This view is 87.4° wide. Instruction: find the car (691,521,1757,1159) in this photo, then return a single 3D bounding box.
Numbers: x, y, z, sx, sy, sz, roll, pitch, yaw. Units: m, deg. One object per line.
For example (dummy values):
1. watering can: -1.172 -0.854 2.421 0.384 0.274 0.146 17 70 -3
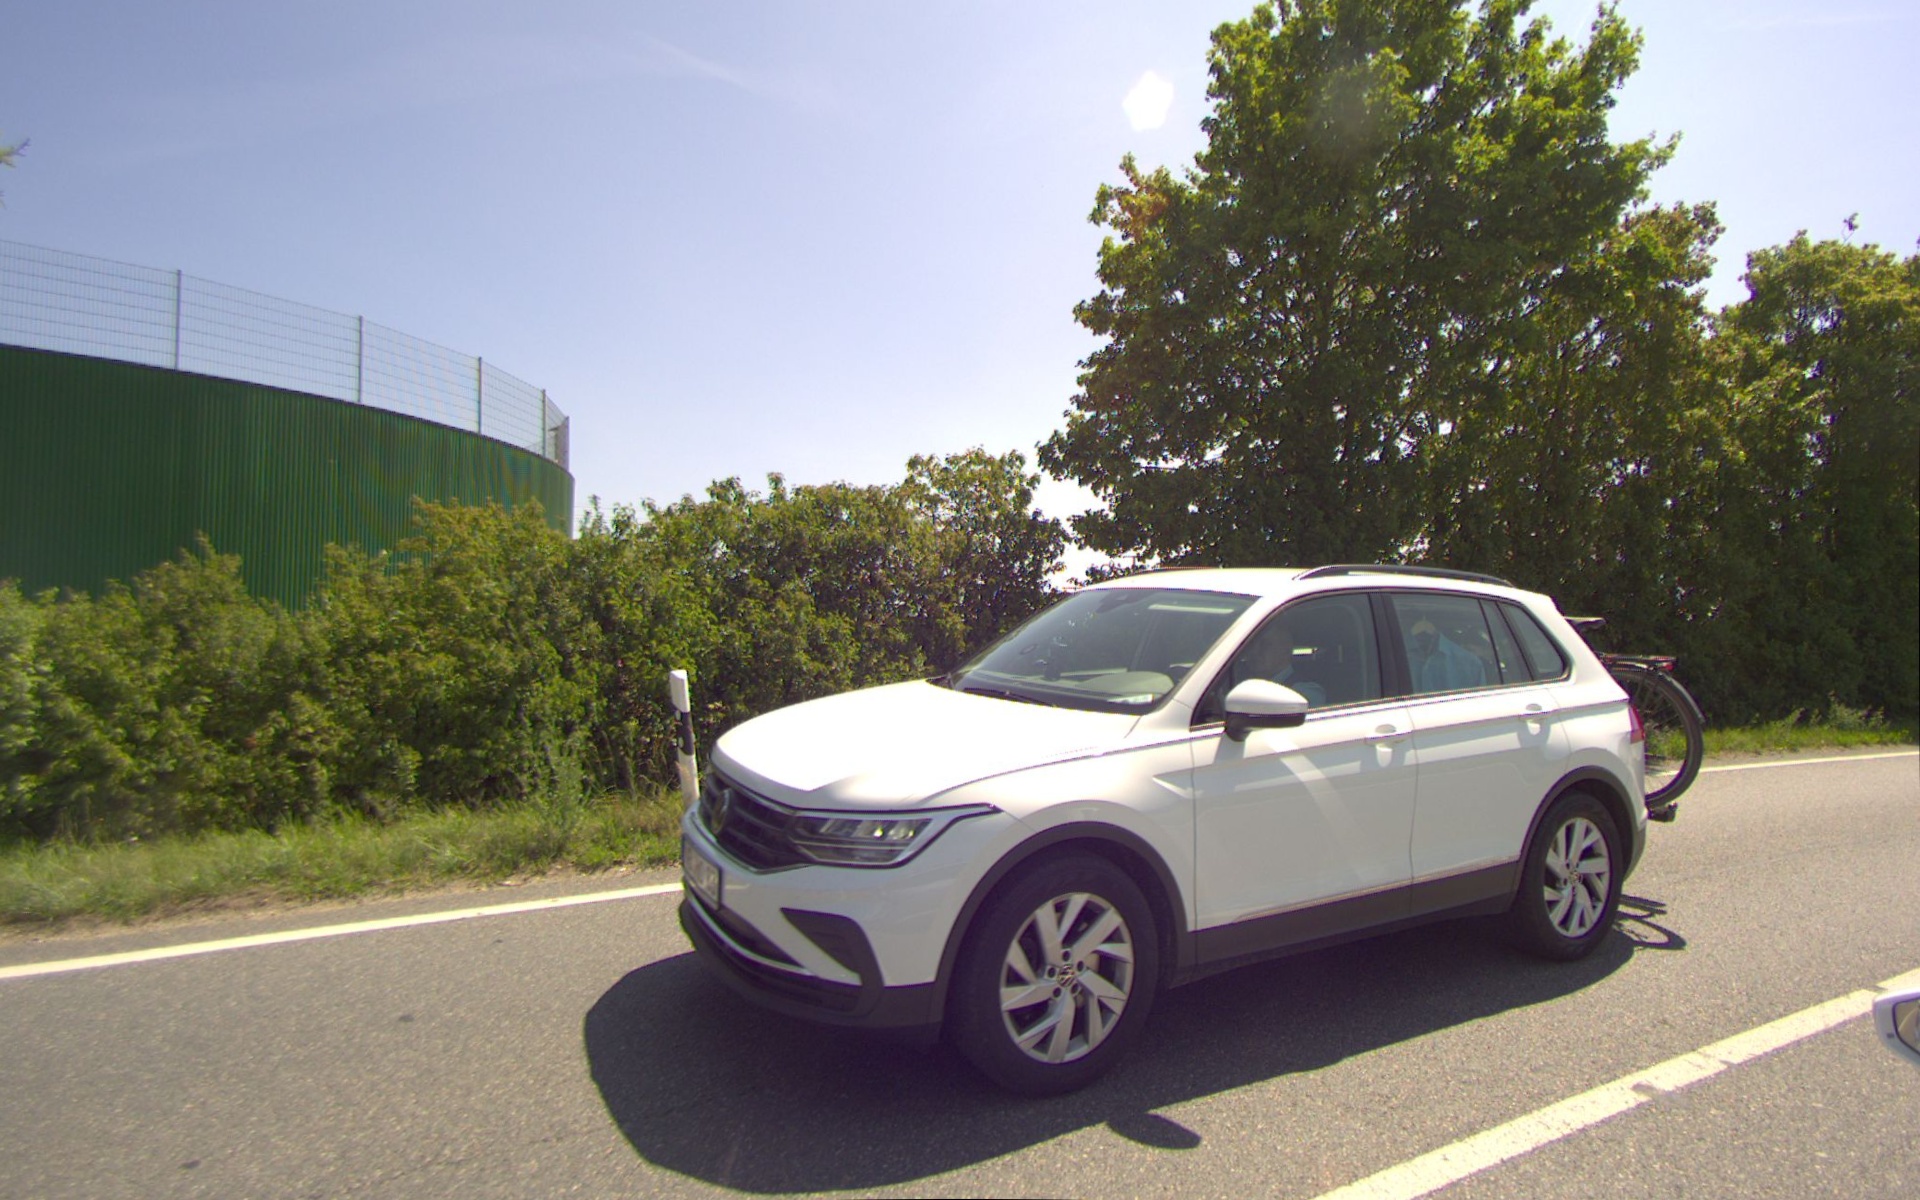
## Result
1. car: 1.391 0.648 4.542 4.721 1.623 1.846 1 0 -30
